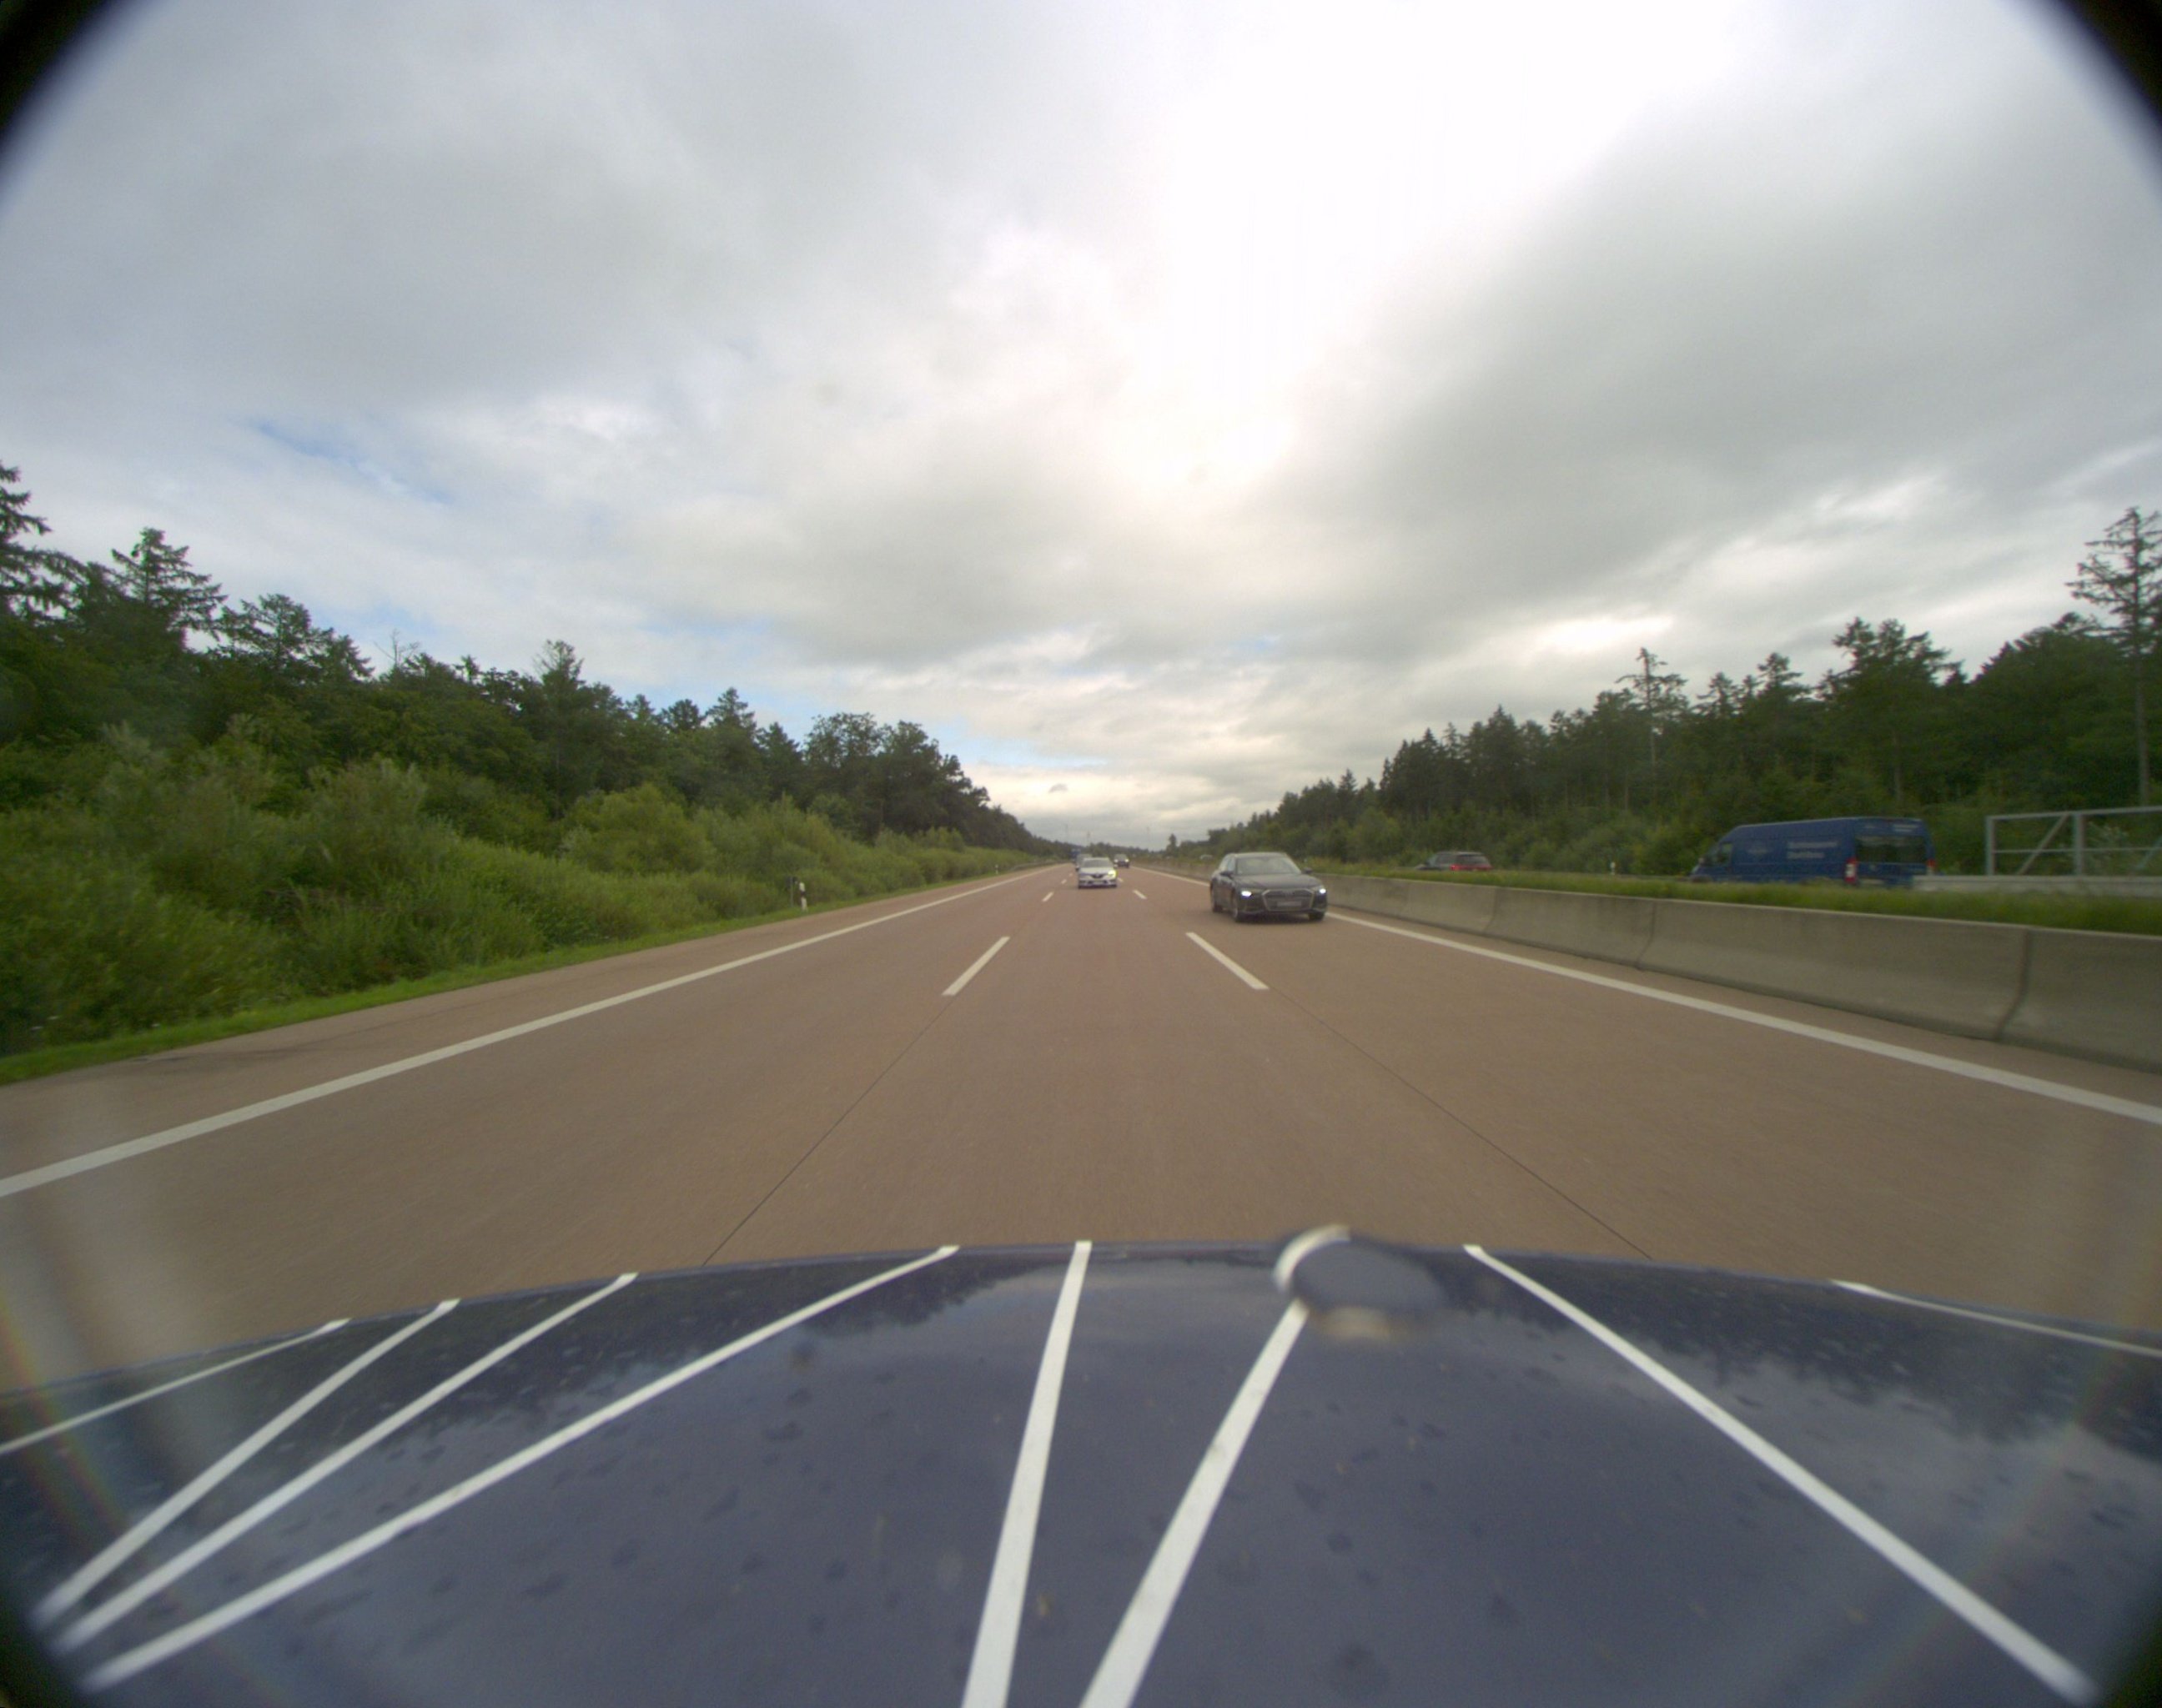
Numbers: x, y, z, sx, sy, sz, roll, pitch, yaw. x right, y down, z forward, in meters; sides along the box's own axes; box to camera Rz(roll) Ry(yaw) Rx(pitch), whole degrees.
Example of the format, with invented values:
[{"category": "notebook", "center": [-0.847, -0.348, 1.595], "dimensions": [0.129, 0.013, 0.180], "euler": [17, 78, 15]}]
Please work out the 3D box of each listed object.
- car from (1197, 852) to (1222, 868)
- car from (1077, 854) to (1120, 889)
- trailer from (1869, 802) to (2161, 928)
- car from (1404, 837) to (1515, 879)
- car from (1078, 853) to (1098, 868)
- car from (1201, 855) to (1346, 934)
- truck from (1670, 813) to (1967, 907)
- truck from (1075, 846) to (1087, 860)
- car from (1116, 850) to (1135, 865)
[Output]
[{"category": "car", "center": [17.247, 0.795, 102.299], "dimensions": [2.352, 2.018, 5.854], "euler": [-2, 0, 1]}, {"category": "car", "center": [0.879, 0.798, 36.756], "dimensions": [1.923, 1.516, 4.001], "euler": [-2, 0, 3]}, {"category": "trailer", "center": [19.666, 0.150, 14.763], "dimensions": [2.337, 2.149, 6.189], "euler": [-2, 0, 1]}, {"category": "car", "center": [16.498, 0.163, 33.468], "dimensions": [2.352, 1.617, 5.128], "euler": [-2, 0, 1]}, {"category": "car", "center": [0.776, 0.645, 79.992], "dimensions": [1.986, 1.499, 4.052], "euler": [-2, 0, 1]}, {"category": "car", "center": [4.263, 0.811, 17.837], "dimensions": [2.064, 1.483, 5.453], "euler": [-2, 0, 1]}, {"category": "truck", "center": [19.777, 0.125, 20.980], "dimensions": [2.352, 2.149, 6.043], "euler": [-2, 0, 1]}, {"category": "truck", "center": [-0.006, -0.273, 216.956], "dimensions": [2.956, 3.705, 7.950], "euler": [-5, 0, 1]}, {"category": "car", "center": [5.359, 0.386, 91.765], "dimensions": [1.998, 1.689, 5.252], "euler": [-2, 1, 1]}]
